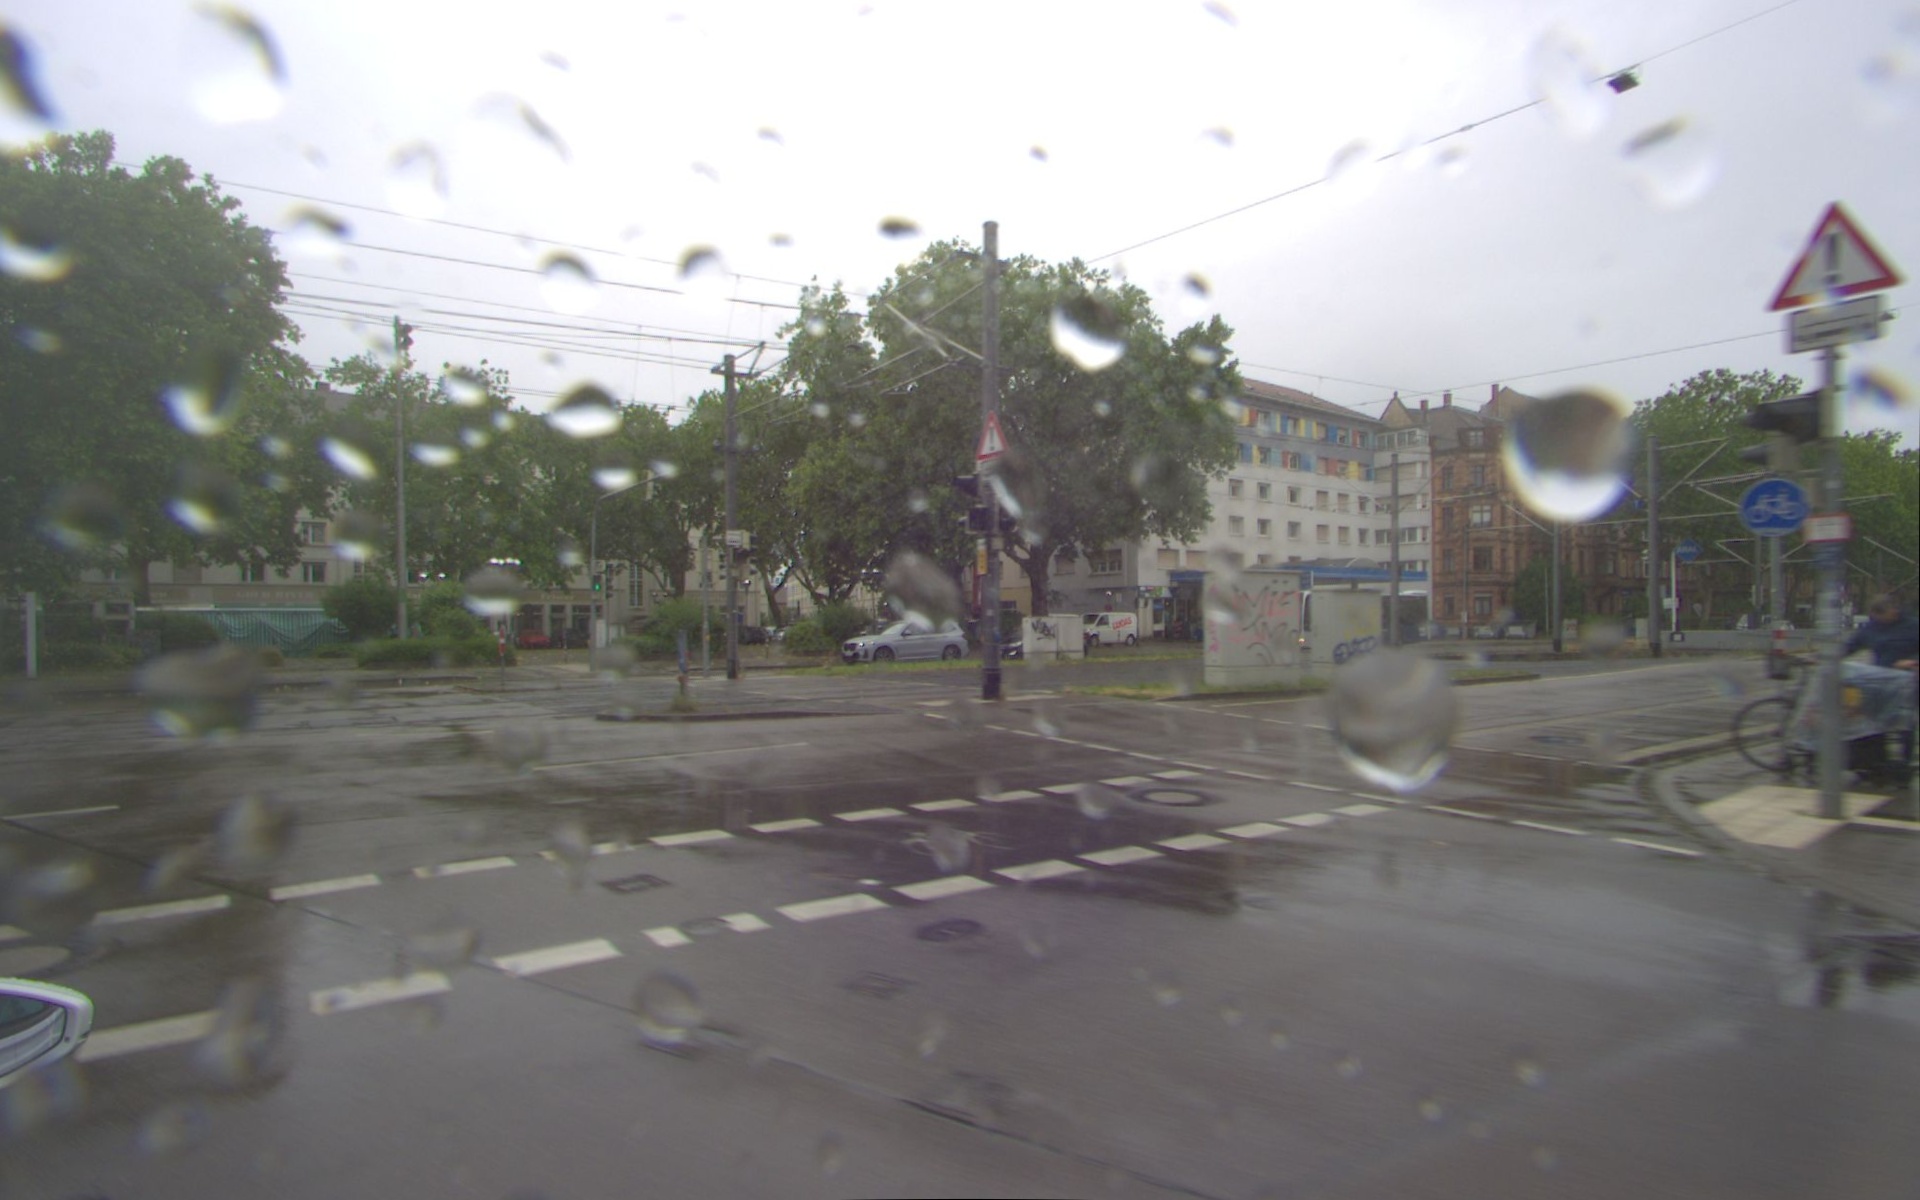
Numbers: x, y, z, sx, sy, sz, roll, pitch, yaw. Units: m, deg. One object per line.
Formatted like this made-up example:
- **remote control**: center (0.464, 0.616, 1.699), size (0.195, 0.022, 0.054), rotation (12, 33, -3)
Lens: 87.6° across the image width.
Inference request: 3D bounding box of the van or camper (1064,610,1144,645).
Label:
- **van or camper**: center (8.255, 1.558, 57.116), size (4.620, 1.940, 1.983), rotation (1, -1, -41)

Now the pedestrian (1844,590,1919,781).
- **pedestrian**: center (8.559, 0.758, 9.105), size (0.679, 1.685, 0.601), rotation (0, 0, 32)

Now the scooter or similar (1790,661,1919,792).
- **scooter or similar**: center (7.947, 1.092, 8.820), size (0.911, 1.062, 0.512), rotation (0, 0, 32)

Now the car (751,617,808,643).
- **car**: center (-11.959, 1.979, 66.108), size (1.979, 1.639, 3.965), rotation (0, -1, -41)

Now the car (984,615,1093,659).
- **car**: center (3.063, 1.381, 38.802), size (4.129, 1.620, 1.765), rotation (1, -1, -38)

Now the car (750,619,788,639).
- **car**: center (-16.102, 2.484, 84.166), size (1.695, 1.638, 3.975), rotation (2, -3, -35)

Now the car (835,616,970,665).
- **car**: center (-1.953, 1.354, 34.825), size (4.502, 1.620, 1.778), rotation (1, -1, -38)

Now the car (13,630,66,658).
- **car**: center (-51.471, 2.492, 56.073), size (1.663, 1.449, 3.714), rotation (0, -4, -34)

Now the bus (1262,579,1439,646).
- **bus**: center (20.635, 0.670, 52.356), size (11.957, 3.154, 2.871), rotation (1, -1, -38)

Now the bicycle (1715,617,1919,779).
- **bicycle**: center (8.455, 0.907, 9.570), size (1.906, 1.486, 0.532), rotation (0, 0, 20)

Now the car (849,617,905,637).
- **car**: center (-6.355, 2.075, 76.891), size (3.949, 1.471, 1.666), rotation (0, -1, -36)

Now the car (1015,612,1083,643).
- **car**: center (5.499, 1.683, 61.713), size (4.215, 1.802, 1.723), rotation (0, -1, -41)

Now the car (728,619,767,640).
- **car**: center (-17.282, 2.395, 81.389), size (1.695, 1.638, 3.975), rotation (2, -3, -35)

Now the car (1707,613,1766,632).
- **car**: center (67.519, 1.966, 87.162), size (3.762, 1.645, 1.769), rotation (-1, -1, 29)

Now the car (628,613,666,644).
- **car**: center (-23.762, 2.190, 75.981), size (1.535, 2.230, 4.073), rotation (0, -3, -36)
